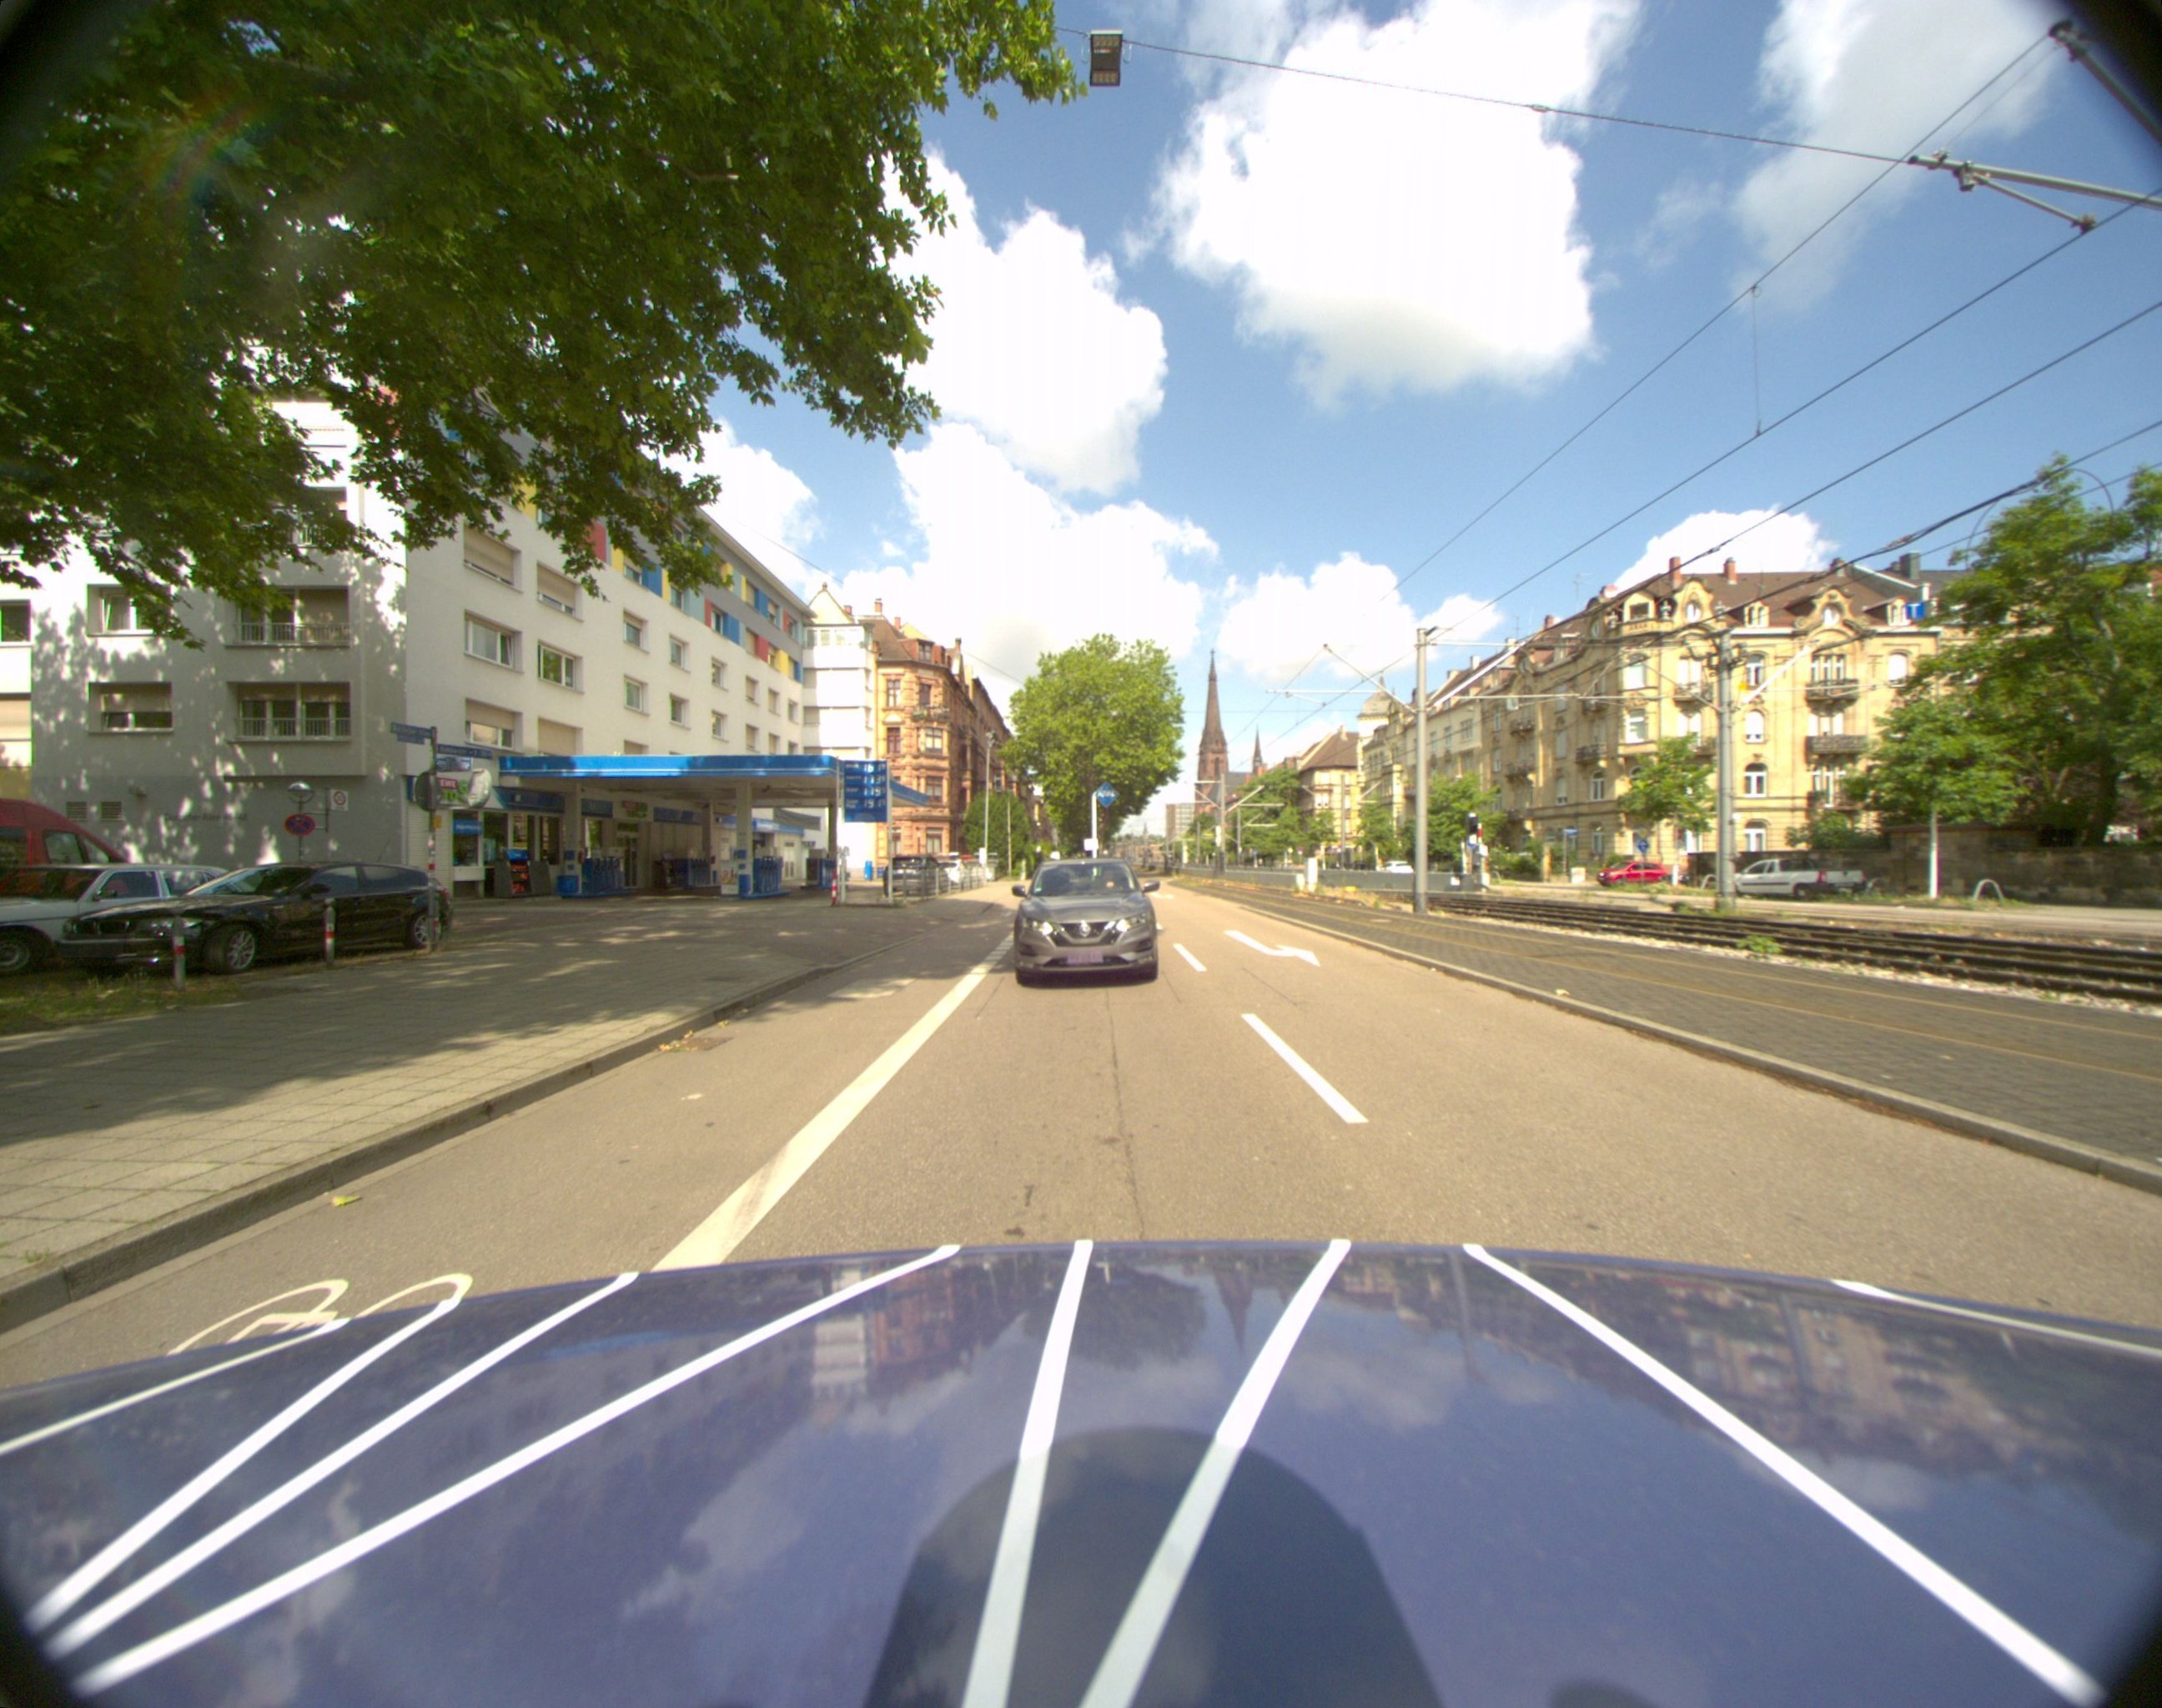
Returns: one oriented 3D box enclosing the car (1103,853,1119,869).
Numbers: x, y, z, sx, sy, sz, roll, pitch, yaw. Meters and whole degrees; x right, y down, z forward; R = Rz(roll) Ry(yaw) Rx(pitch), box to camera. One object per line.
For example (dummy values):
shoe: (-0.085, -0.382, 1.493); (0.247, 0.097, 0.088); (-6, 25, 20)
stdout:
car: (3.077, 0.726, 78.550); (1.557, 1.476, 3.859); (2, 0, 0)

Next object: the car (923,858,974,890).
car: (-6.510, 0.954, 37.769); (1.810, 1.447, 4.001); (-1, 0, 0)

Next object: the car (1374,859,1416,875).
car: (26.976, 1.085, 65.399); (1.756, 1.320, 4.312); (0, 0, -1)

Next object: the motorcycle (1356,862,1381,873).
motorcycle: (27.028, 1.280, 71.433); (1.765, 0.936, 1.418); (2, 0, -1)

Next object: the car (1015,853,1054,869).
car: (-5.859, 0.849, 95.165); (4.735, 1.772, 2.004); (-1, 0, -7)

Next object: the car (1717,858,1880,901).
car: (26.851, 0.908, 28.682); (1.936, 1.495, 4.414); (0, 0, -1)

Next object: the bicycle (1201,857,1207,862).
bicycle: (24.807, 1.029, 153.172); (0.778, 0.973, 2.141); (2, 0, 1)

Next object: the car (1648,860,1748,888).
car: (33.058, 1.082, 40.796); (3.972, 1.455, 1.724); (0, 0, 1)

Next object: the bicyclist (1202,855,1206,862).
bicyclist: (24.794, 0.861, 153.136); (0.769, 1.330, 1.049); (2, 0, 1)

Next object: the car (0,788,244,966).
car: (-16.701, 0.336, 11.101); (2.116, 2.567, 6.020); (0, 0, 2)

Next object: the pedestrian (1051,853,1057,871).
pedestrian: (-2.764, 0.831, 77.566); (0.565, 1.775, 0.630); (0, 0, 0)

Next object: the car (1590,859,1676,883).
car: (33.747, 1.039, 46.518); (3.788, 1.455, 1.933); (0, 0, 4)

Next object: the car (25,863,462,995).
car: (-11.155, 0.875, 10.649); (1.653, 1.461, 4.043); (0, 0, 0)

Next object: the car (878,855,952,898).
car: (-6.564, 0.845, 30.546); (1.810, 1.593, 4.583); (-1, 0, 2)

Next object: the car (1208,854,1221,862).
car: (27.351, 0.744, 155.469); (1.998, 1.628, 4.114); (0, 0, 0)

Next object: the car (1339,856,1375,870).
car: (26.963, 0.860, 74.362); (2.025, 1.319, 4.100); (0, 0, -2)

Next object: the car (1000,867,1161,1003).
car: (0.031, 0.943, 10.750); (1.800, 1.454, 4.568); (0, 0, 1)

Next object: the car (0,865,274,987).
car: (-13.855, 0.888, 10.287); (1.653, 1.421, 4.042); (0, 0, -3)
